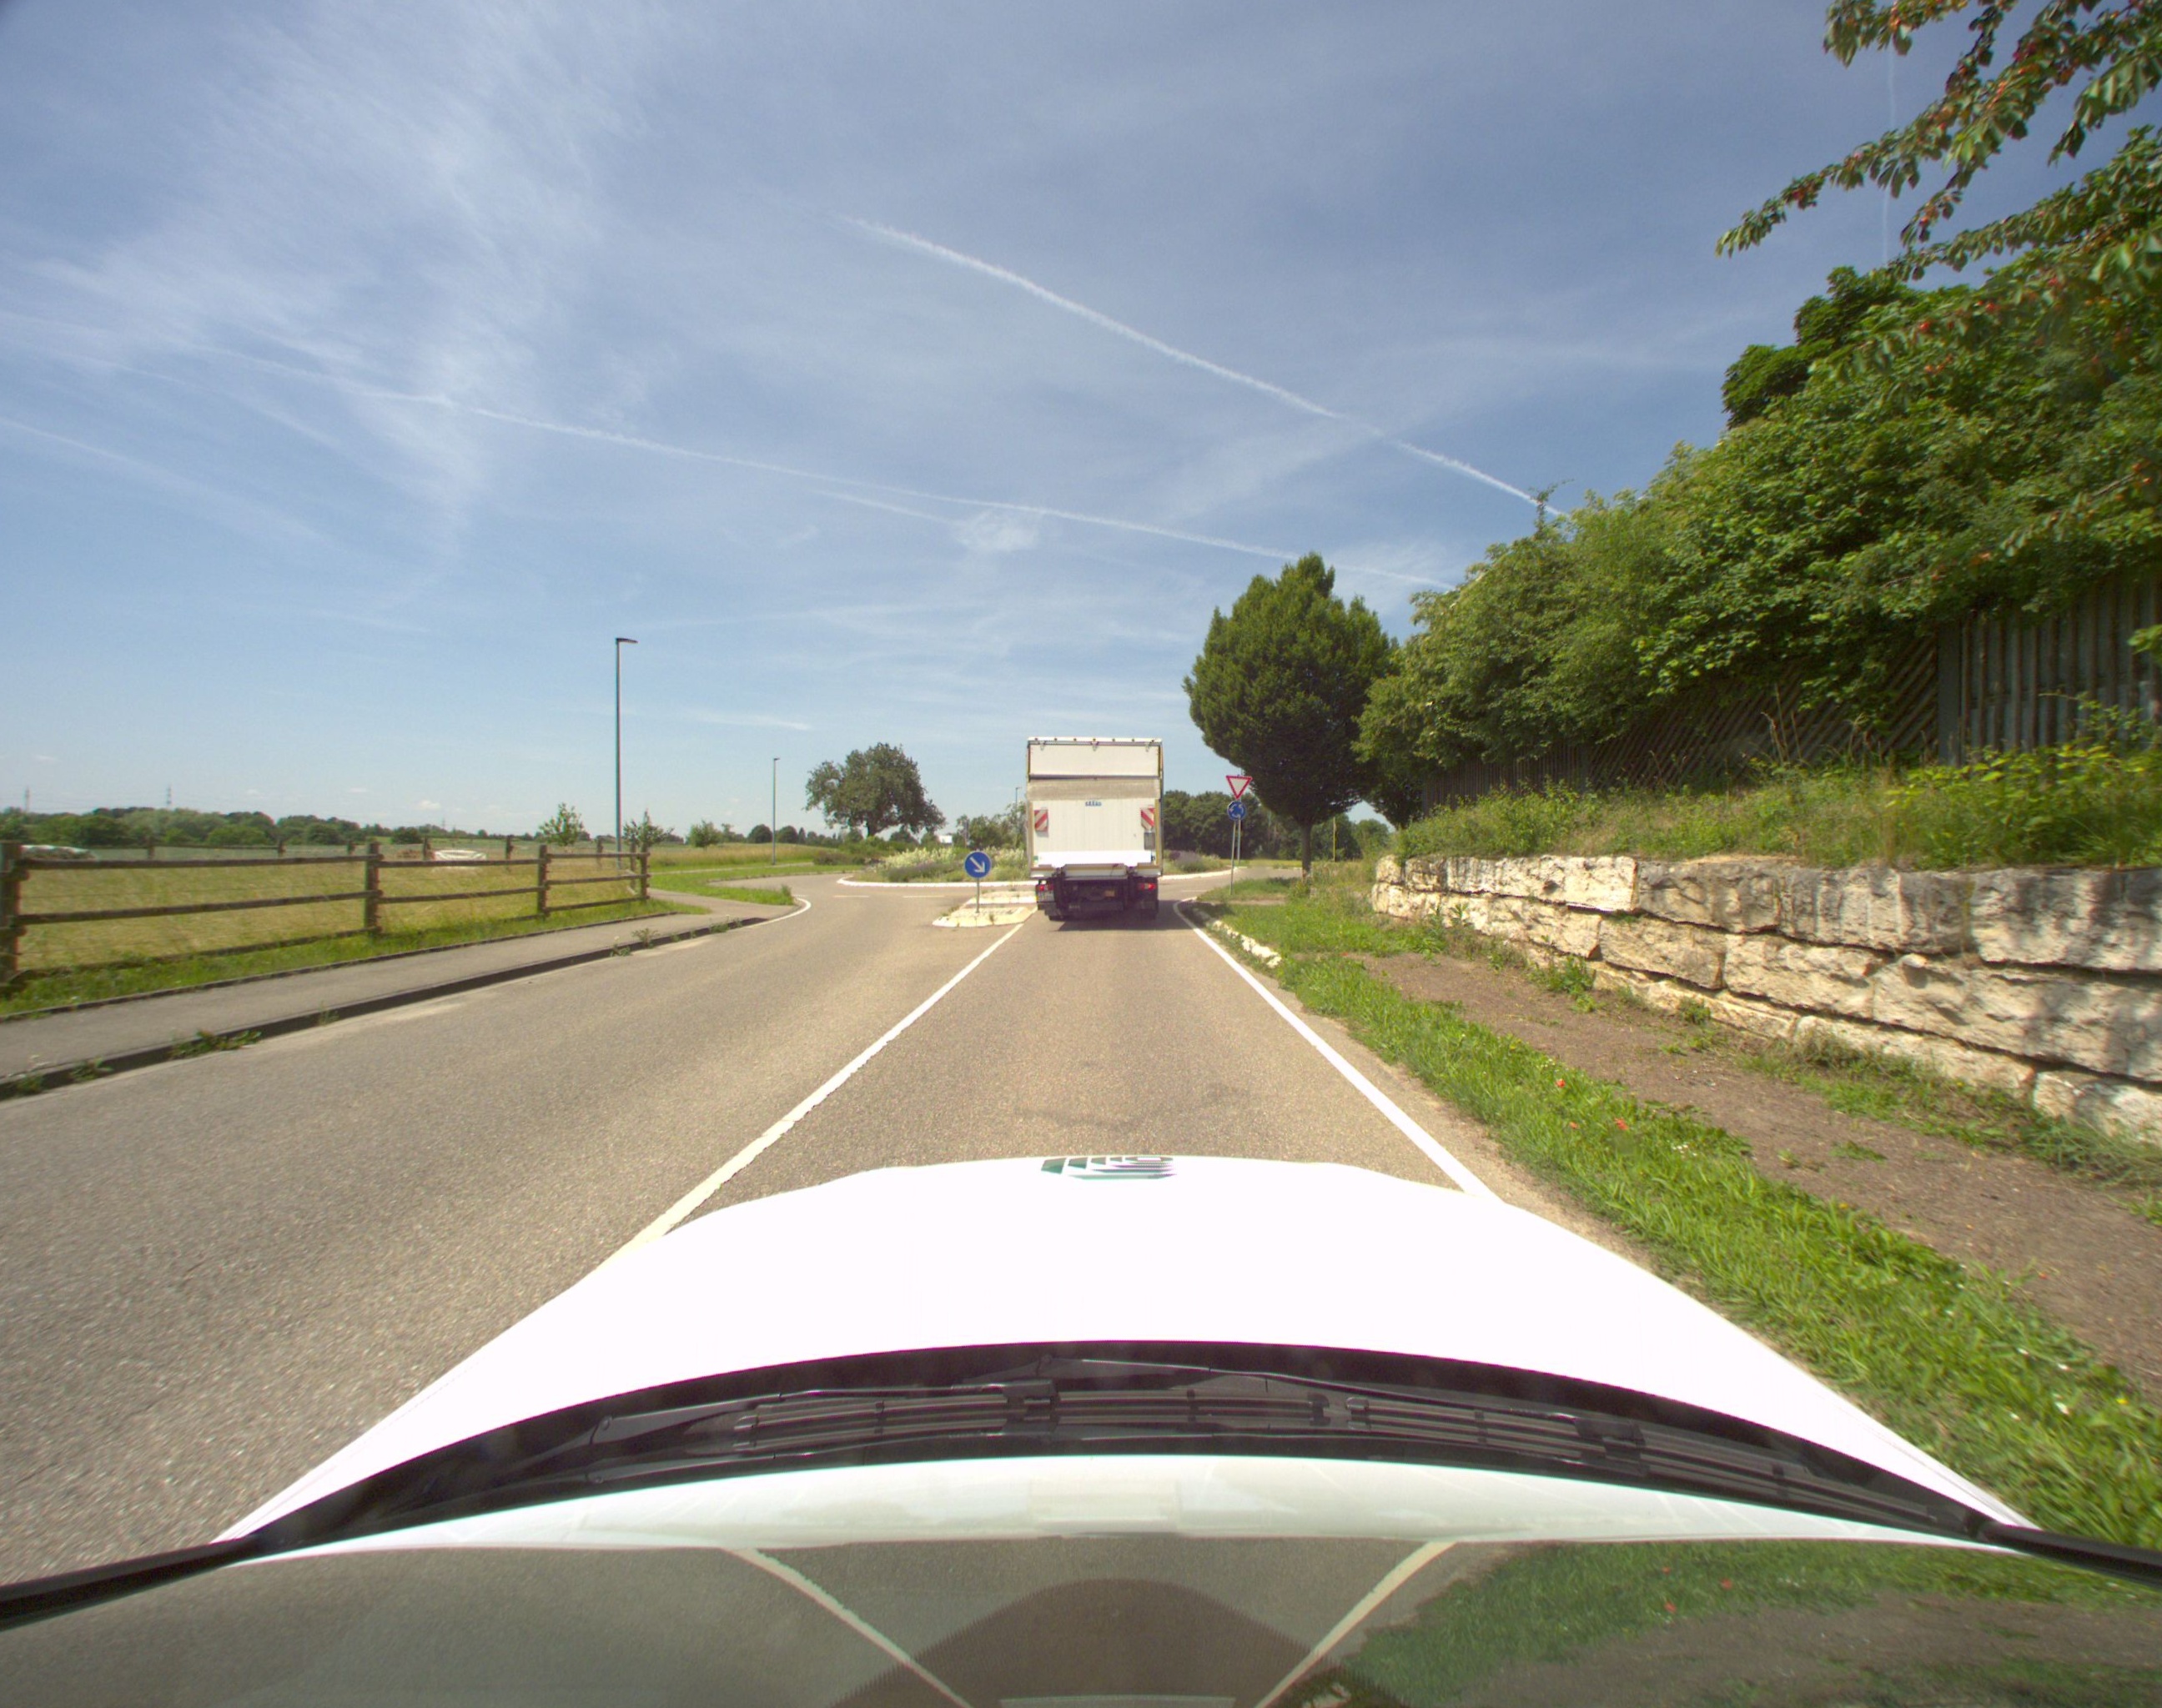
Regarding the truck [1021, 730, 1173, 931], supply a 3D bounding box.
[{"bbox_3d":[0.399,-0.452,19.718,2.757,3.670,9.385,-1,0,1],"label":"truck"}]
